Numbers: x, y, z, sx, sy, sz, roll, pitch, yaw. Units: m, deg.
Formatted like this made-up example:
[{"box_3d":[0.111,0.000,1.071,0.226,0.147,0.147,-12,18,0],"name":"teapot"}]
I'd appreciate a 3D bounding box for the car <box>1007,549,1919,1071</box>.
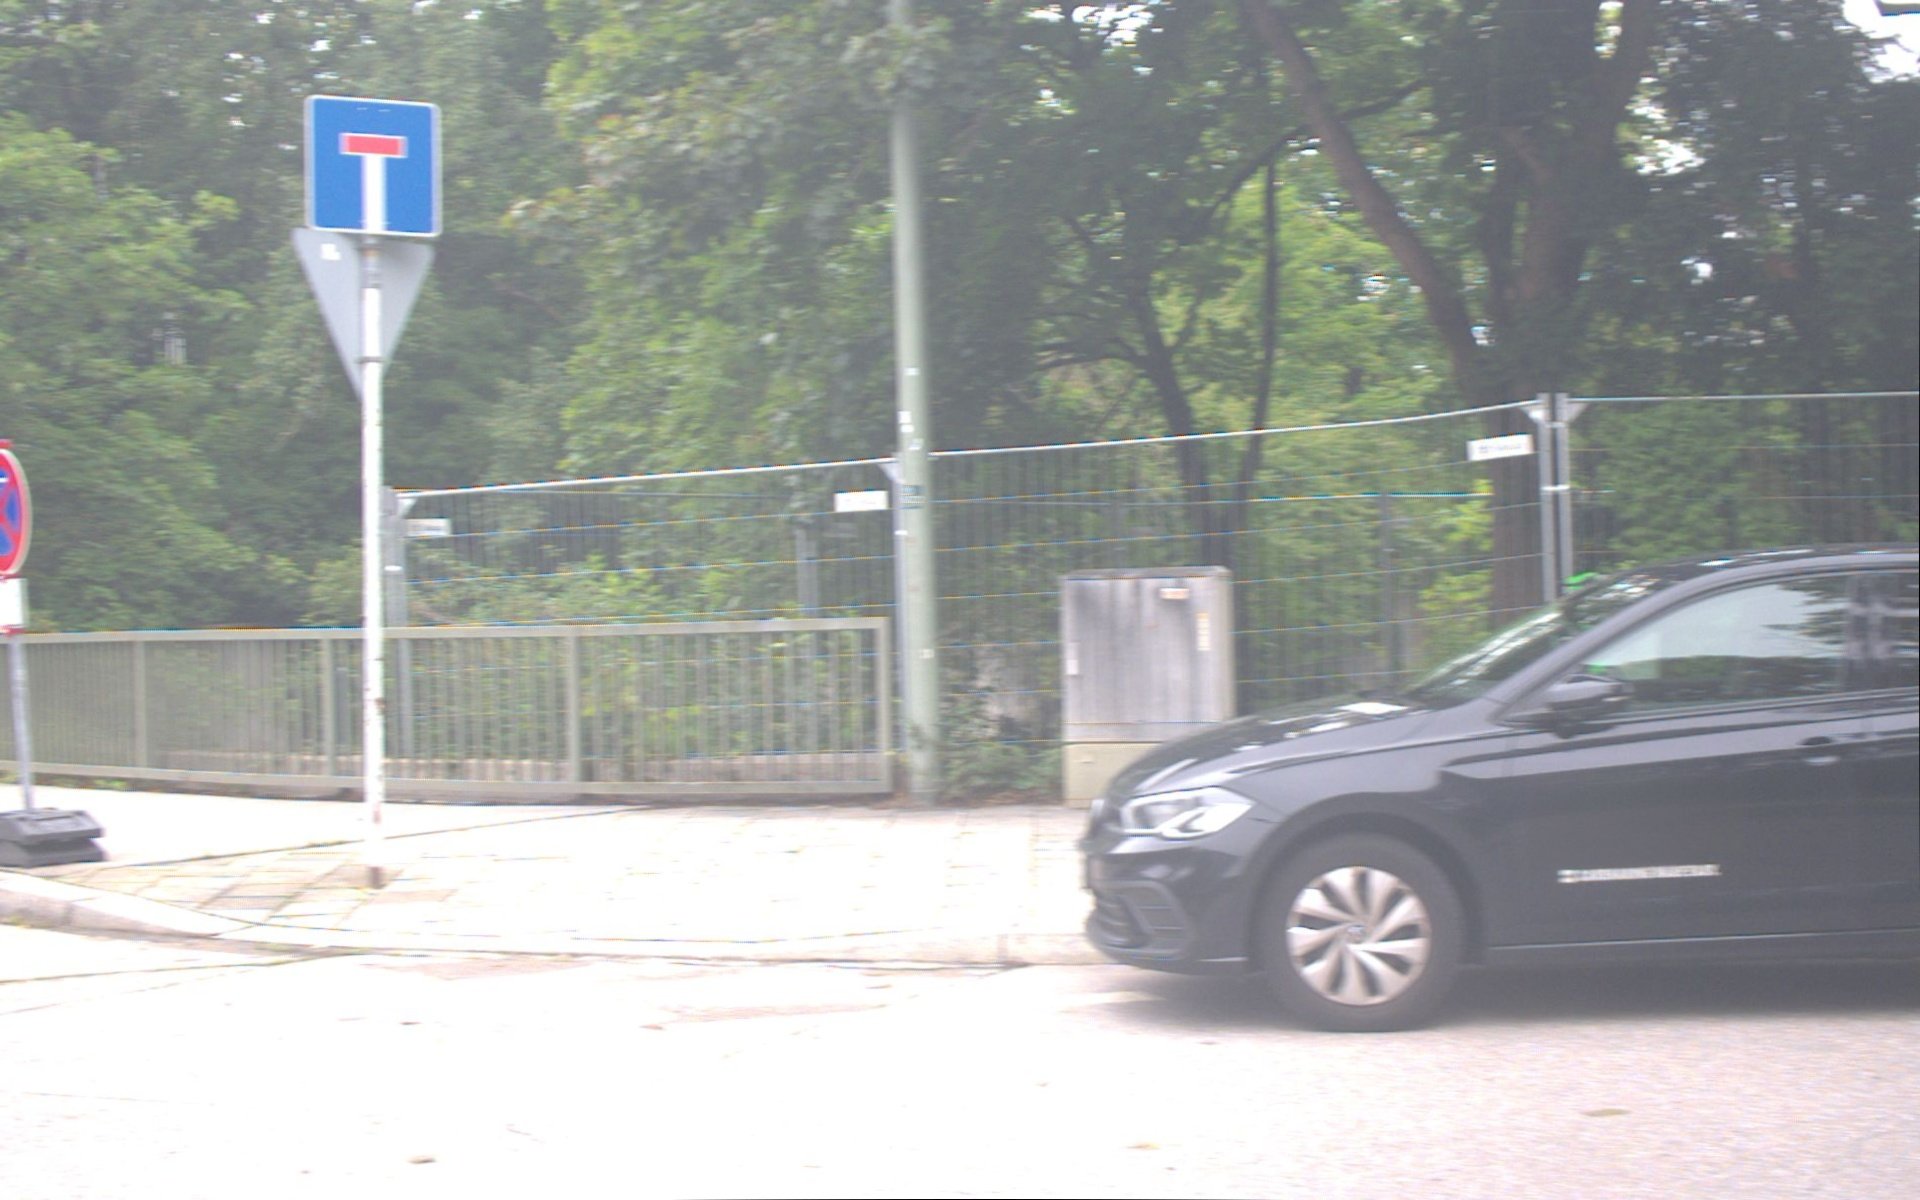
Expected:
[{"box_3d":[2.238,0.594,11.177,4.029,1.428,2.000,-1,2,-3],"name":"car"}]
